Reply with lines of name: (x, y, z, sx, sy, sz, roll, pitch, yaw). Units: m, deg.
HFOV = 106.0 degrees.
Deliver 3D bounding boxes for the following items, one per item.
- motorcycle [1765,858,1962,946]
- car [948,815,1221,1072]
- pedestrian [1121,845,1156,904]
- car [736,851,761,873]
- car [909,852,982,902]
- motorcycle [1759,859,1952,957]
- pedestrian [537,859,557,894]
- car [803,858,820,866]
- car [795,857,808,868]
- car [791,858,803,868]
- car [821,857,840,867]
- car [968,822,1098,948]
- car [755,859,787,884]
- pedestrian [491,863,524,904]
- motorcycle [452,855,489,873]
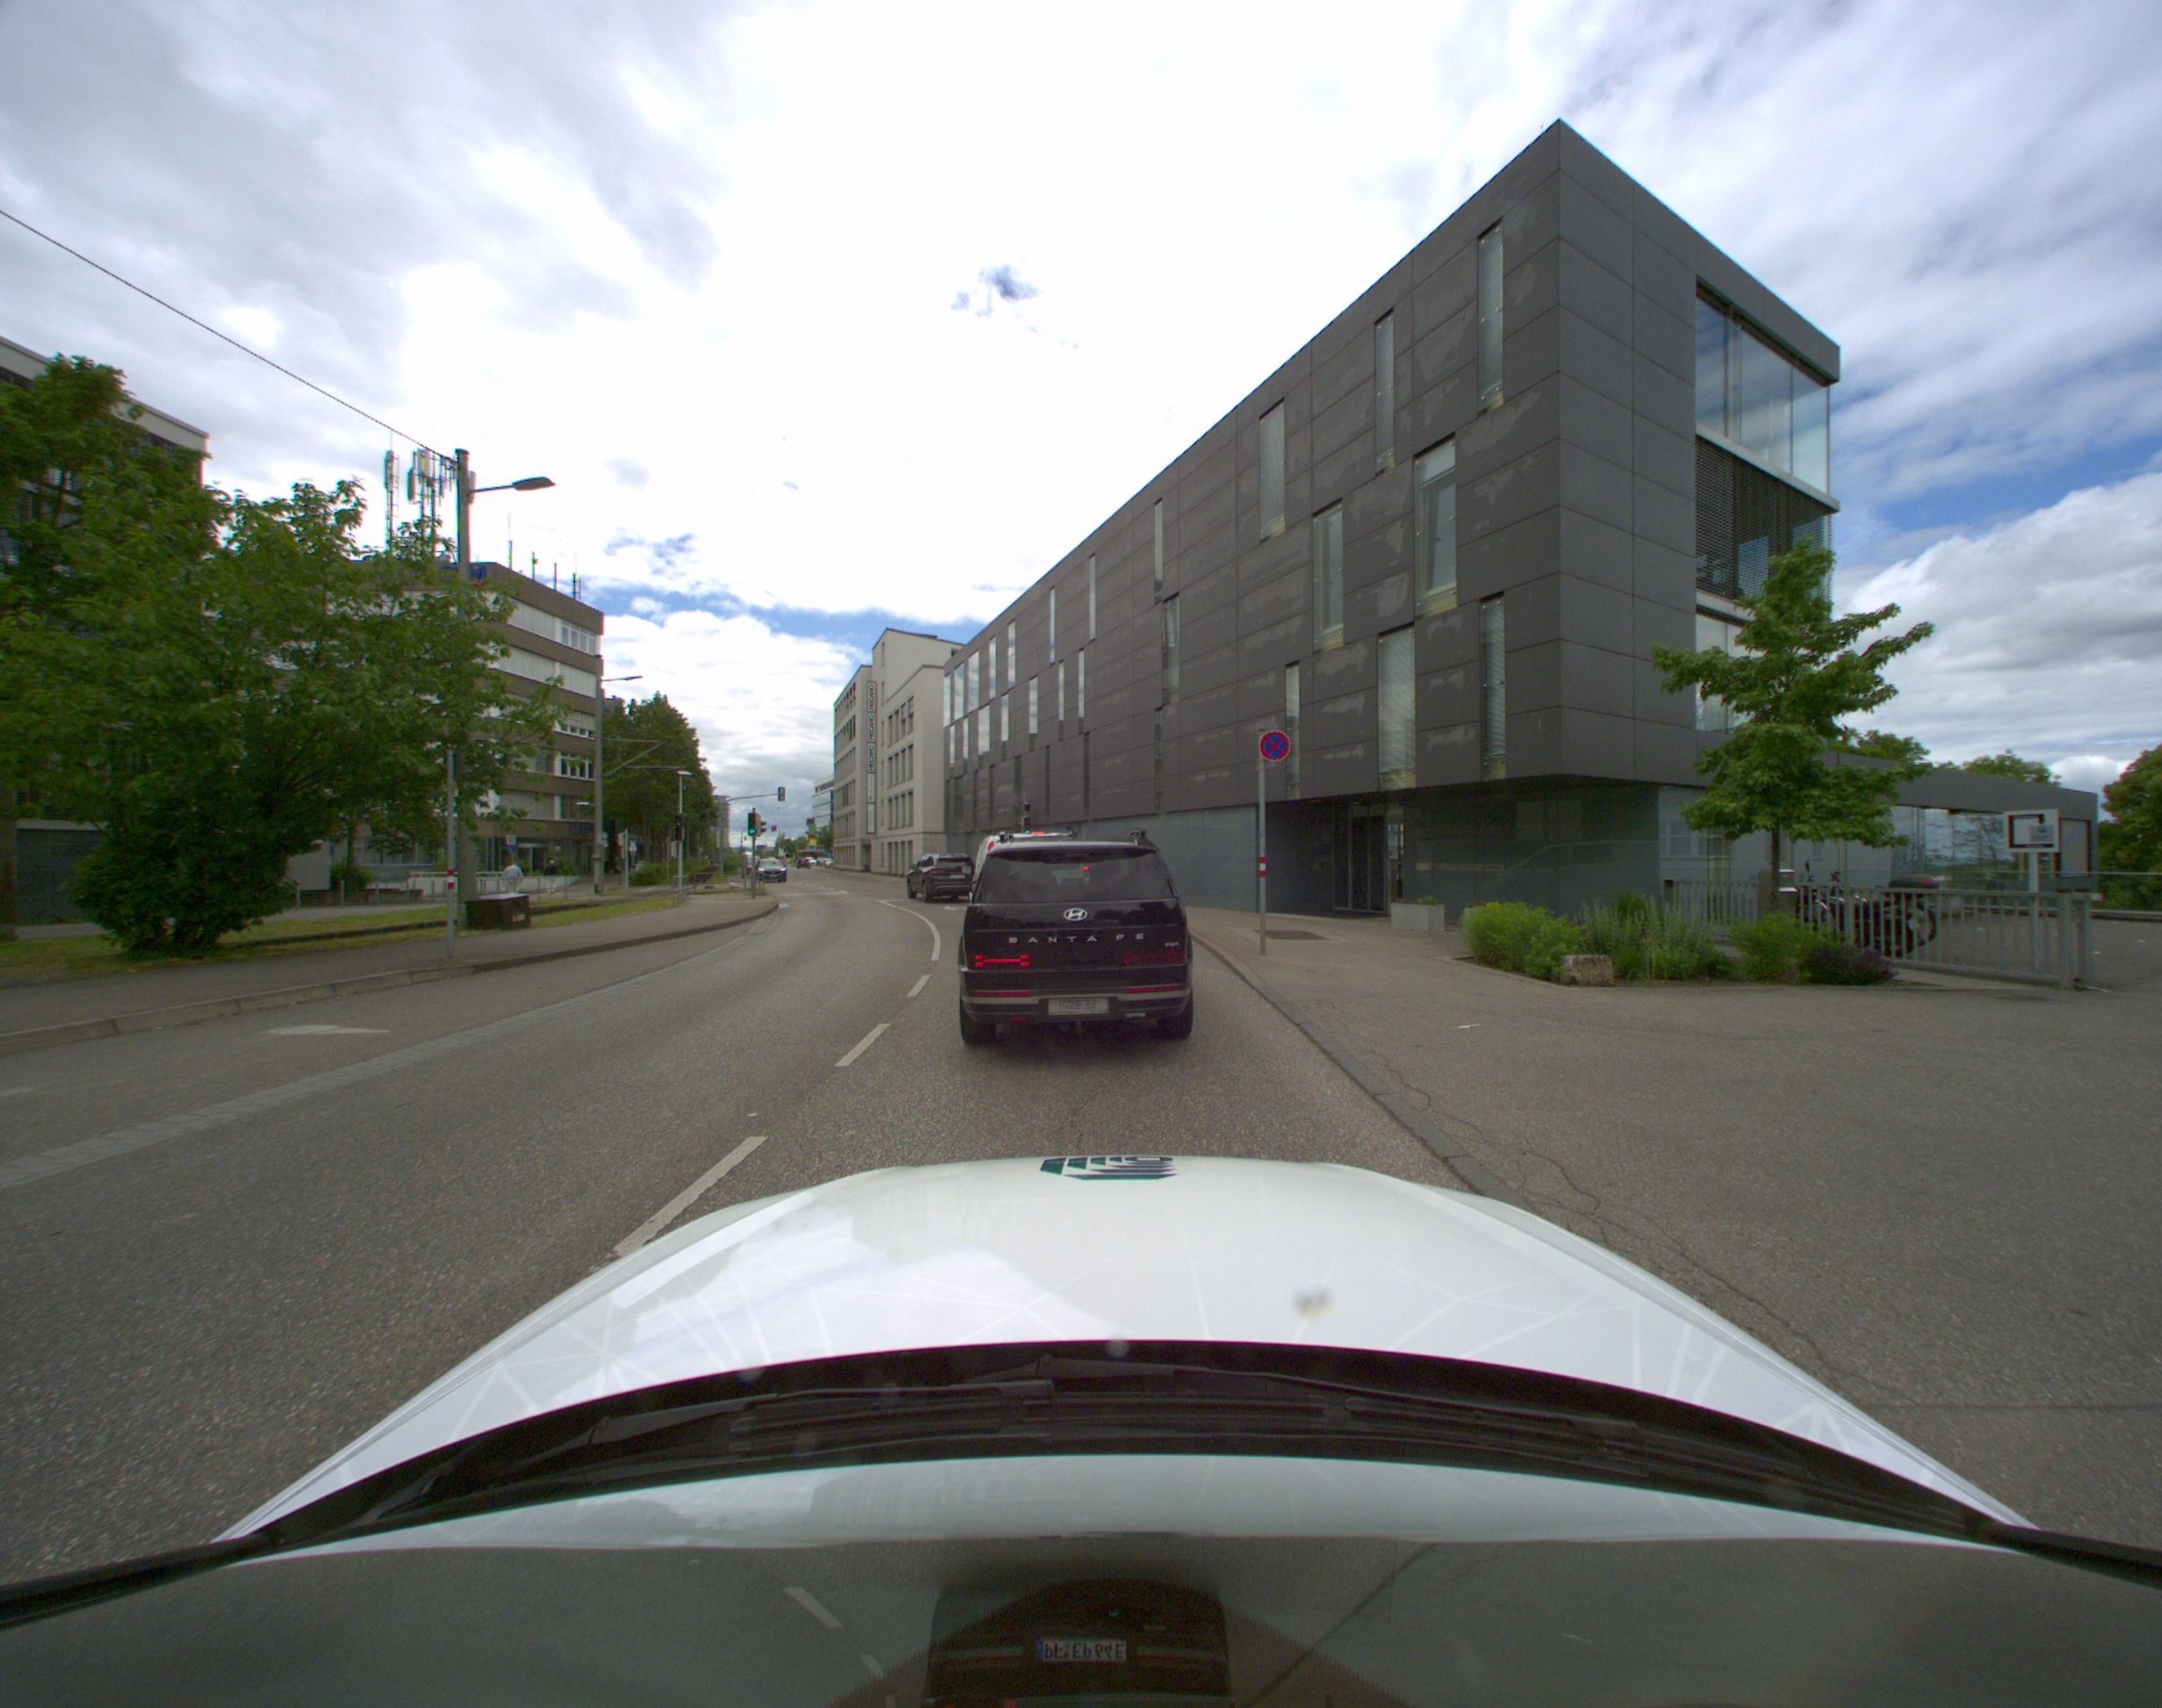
motorcycle: (13.467, 0.762, 14.155, 0.669, 1.393, 2.449, 0, 0, -17)
car: (-0.120, 0.623, 7.940, 1.905, 1.749, 4.390, -1, 0, -4)
pedestrian: (1.688, 0.606, 24.148, 0.715, 1.694, 0.858, 1, -1, -24)
car: (-27.938, 0.677, 68.417, 1.689, 1.808, 4.316, -2, 0, -25)
car: (-4.798, 0.753, 28.357, 1.765, 1.609, 4.159, 0, 0, -20)
motorcycle: (11.949, 0.773, 12.676, 0.669, 1.393, 2.112, 0, 0, -17)
pedestrian: (-27.100, 1.137, 41.332, 0.690, 1.705, 0.678, -2, 0, -21)
car: (-48.473, 1.391, 146.494, 2.008, 1.502, 3.958, 0, 0, -34)
car: (-41.513, 1.298, 120.825, 1.765, 1.609, 4.159, 0, 0, -20)
car: (-47.948, 1.468, 137.551, 1.765, 1.609, 4.159, 0, 0, -20)
car: (-42.373, 1.375, 137.672, 2.009, 1.703, 3.956, 0, 0, -36)
car: (-1.065, 0.497, 15.299, 1.932, 1.994, 4.519, 0, 0, -10)
car: (-20.462, 1.137, 53.693, 1.776, 1.479, 3.969, -2, 0, -23)
pedestrian: (-22.379, 1.142, 31.775, 0.852, 1.526, 0.987, -2, 0, -25)
motorcycle: (-40.336, 0.662, 53.851, 1.879, 1.199, 0.566, -1, 0, -11)
